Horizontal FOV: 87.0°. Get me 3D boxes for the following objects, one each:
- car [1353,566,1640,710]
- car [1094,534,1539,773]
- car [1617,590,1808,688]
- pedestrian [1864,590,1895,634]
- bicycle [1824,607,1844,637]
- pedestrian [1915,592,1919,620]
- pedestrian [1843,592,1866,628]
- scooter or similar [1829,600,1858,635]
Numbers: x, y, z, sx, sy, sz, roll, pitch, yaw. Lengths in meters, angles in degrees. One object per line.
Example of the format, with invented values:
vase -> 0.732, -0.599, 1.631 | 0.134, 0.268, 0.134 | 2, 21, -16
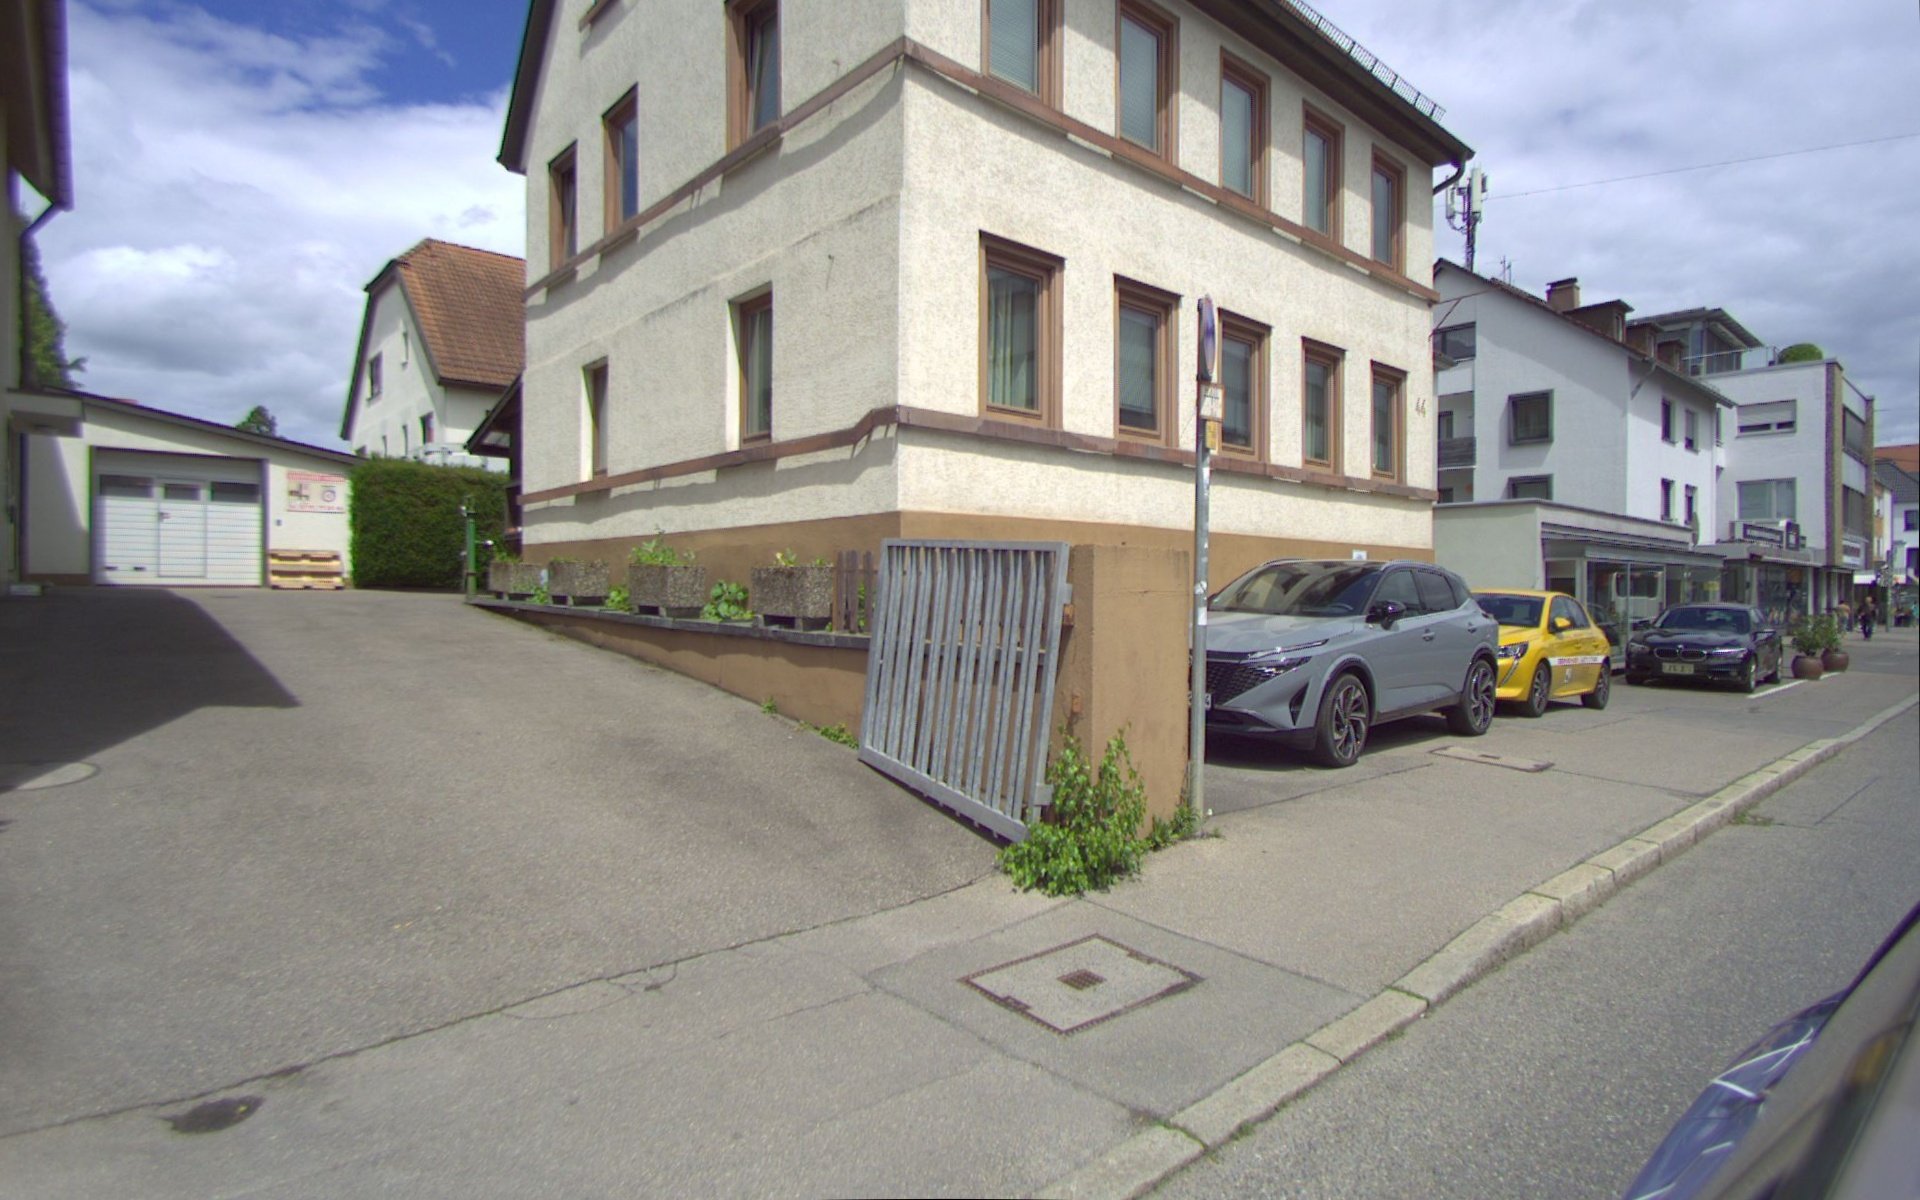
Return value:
car -> 6.733, 0.449, 12.484 | 4.234, 1.466, 1.879 | 3, -1, -44
car -> 3.402, 0.342, 9.144 | 4.507, 1.632, 1.863 | 0, 2, -42
car -> 13.255, 0.587, 17.720 | 4.460, 1.465, 1.970 | 0, 1, -44
pedestrian -> 35.873, 0.464, 39.484 | 0.793, 1.691, 0.796 | 0, 1, -42
bicycle -> 30.997, 0.769, 35.907 | 0.474, 1.041, 1.613 | 1, 1, 39
pedestrian -> 54.774, 0.346, 57.420 | 0.804, 1.545, 0.779 | 1, 0, -39
pedestrian -> 39.184, 0.427, 44.326 | 0.707, 1.518, 0.680 | 0, 0, -42
scooter or similar -> 32.936, 0.638, 37.747 | 0.686, 1.283, 1.170 | 1, 1, 36
